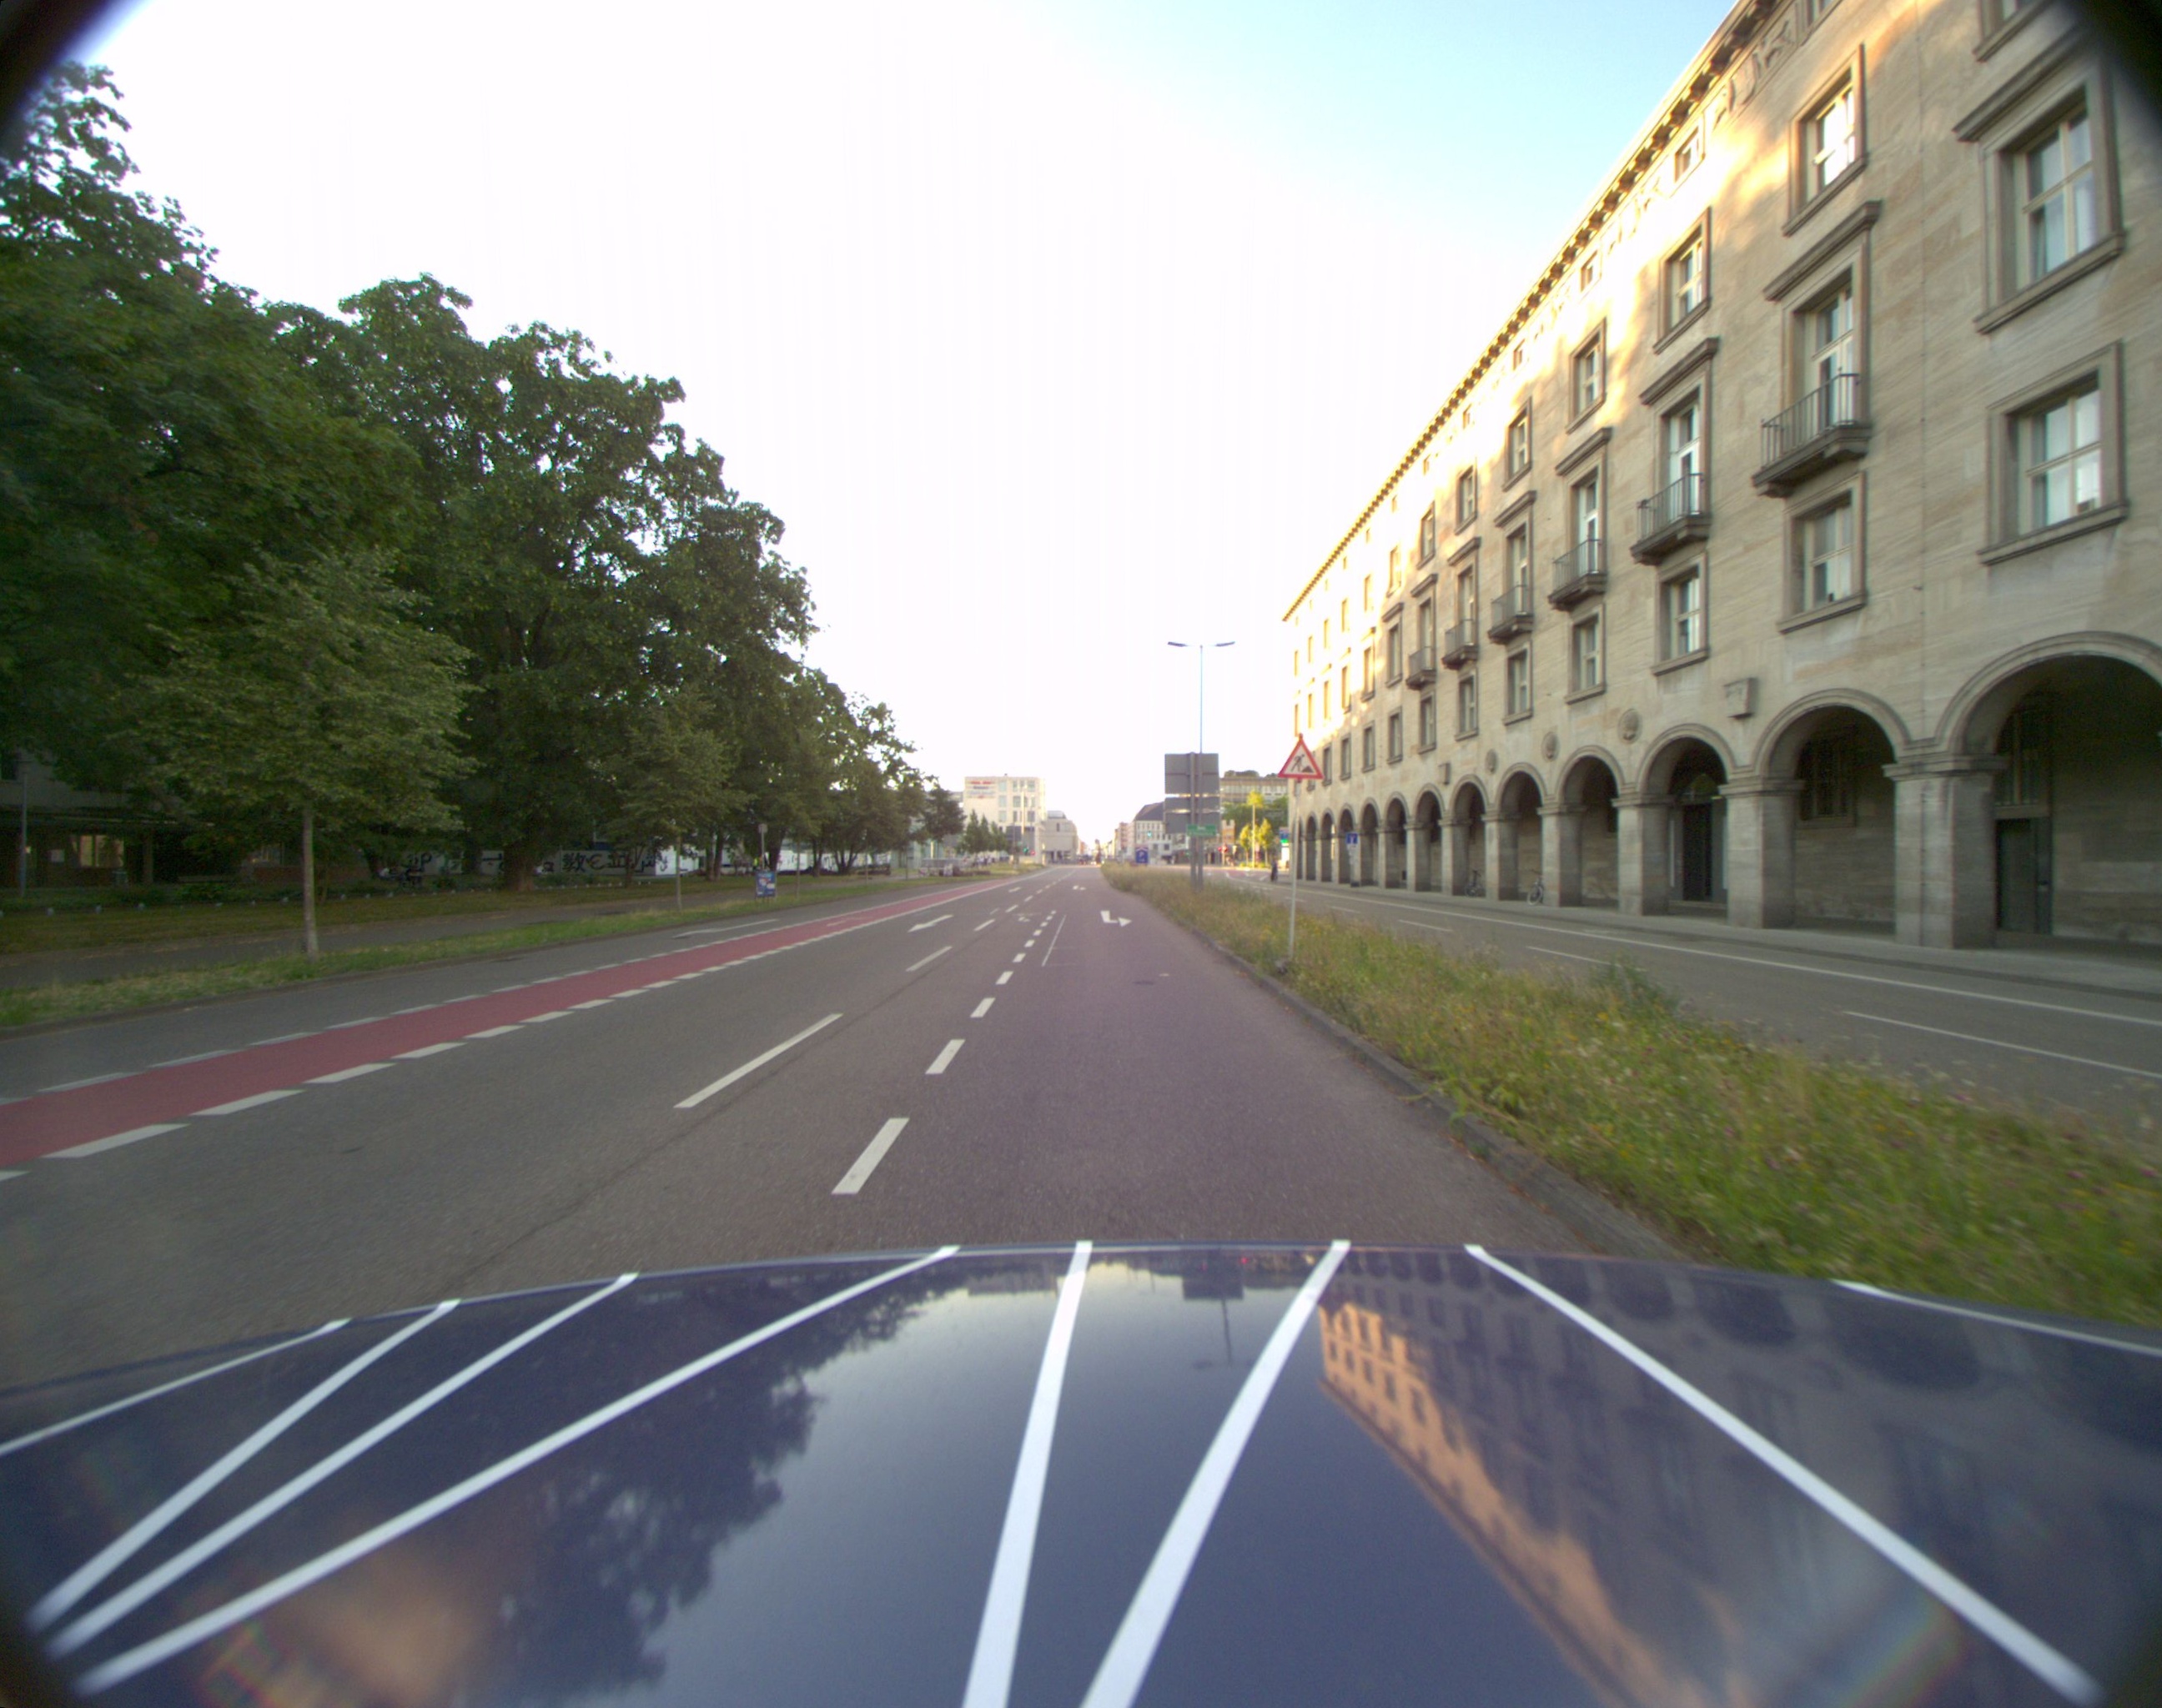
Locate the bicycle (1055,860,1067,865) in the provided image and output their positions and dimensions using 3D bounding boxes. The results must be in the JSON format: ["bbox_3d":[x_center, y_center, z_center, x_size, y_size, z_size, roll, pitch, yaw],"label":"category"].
[{"bbox_3d":[-4.981,2.000,187.211,2.804,1.208,0.765,0,-1,10],"label":"bicycle"}]

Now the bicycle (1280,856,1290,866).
[{"bbox_3d":[26.815,0.871,100.125,0.619,1.316,2.509,0,0,-1],"label":"bicycle"}]

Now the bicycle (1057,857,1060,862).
[{"bbox_3d":[-5.415,1.282,185.038,0.619,1.316,2.509,0,0,-1],"label":"bicycle"}]

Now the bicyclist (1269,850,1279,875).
[{"bbox_3d":[12.993,0.593,51.133,0.538,1.683,0.748,0,1,1],"label":"bicyclist"}]

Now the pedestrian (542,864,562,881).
[{"bbox_3d":[-34.890,1.220,50.100,0.788,1.157,0.766,0,0,-4],"label":"pedestrian"}]

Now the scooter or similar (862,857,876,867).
[{"bbox_3d":[-26.611,1.032,95.188,1.573,1.213,0.474,-2,1,-1],"label":"scooter or similar"}]

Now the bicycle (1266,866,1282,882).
[{"bbox_3d":[12.995,1.366,51.192,0.543,1.000,2.005,0,1,1],"label":"bicycle"}]

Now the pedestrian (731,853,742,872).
[{"bbox_3d":[-33.149,0.834,73.068,0.768,1.845,0.601,0,1,16],"label":"pedestrian"}]

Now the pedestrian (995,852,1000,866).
[{"bbox_3d":[-11.896,0.700,107.896,0.644,1.922,0.619,0,1,1],"label":"pedestrian"}]

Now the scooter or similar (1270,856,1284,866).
[{"bbox_3d":[26.624,0.916,103.054,1.792,1.297,0.417,0,1,-5],"label":"scooter or similar"}]

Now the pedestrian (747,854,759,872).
[{"bbox_3d":[-31.949,0.862,74.013,0.768,1.810,0.601,0,1,16],"label":"pedestrian"}]

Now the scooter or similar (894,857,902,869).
[{"bbox_3d":[-19.806,0.959,82.286,0.424,1.213,1.399,2,0,2],"label":"scooter or similar"}]

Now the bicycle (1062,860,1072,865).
[{"bbox_3d":[-3.530,2.159,196.973,2.507,1.316,0.619,0,1,0],"label":"bicycle"}]

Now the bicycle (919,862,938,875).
[{"bbox_3d":[-12.557,1.189,62.594,0.494,1.000,1.901,3,0,21],"label":"bicycle"}]

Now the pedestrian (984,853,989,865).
[{"bbox_3d":[-14.228,0.760,114.056,0.644,1.922,0.619,0,1,3],"label":"pedestrian"}]

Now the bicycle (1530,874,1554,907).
[{"bbox_3d":[15.400,1.189,25.361,0.477,0.999,2.009,0,0,37],"label":"bicycle"}]

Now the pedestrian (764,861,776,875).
[{"bbox_3d":[-20.528,0.935,50.157,0.682,0.879,0.592,0,0,-23],"label":"pedestrian"}]

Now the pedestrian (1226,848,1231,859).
[{"bbox_3d":[24.557,-0.078,126.758,0.661,1.921,0.648,0,0,2],"label":"pedestrian"}]

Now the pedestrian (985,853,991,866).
[{"bbox_3d":[-13.315,0.772,108.910,0.644,1.922,0.619,0,0,3],"label":"pedestrian"}]

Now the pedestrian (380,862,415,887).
[{"bbox_3d":[-34.960,1.036,38.863,1.134,1.253,0.726,0,0,3],"label":"pedestrian"}]

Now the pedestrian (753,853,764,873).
[{"bbox_3d":[-30.885,0.852,72.677,0.768,1.908,0.601,0,1,16],"label":"pedestrian"}]

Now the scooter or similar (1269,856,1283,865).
[{"bbox_3d":[26.561,0.909,103.560,1.863,1.297,0.500,0,1,-5],"label":"scooter or similar"}]

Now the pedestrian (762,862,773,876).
[{"bbox_3d":[-20.889,0.987,50.675,0.682,0.879,0.622,0,0,-22],"label":"pedestrian"}]

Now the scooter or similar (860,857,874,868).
[{"bbox_3d":[-26.556,1.045,94.371,1.573,1.213,0.474,-2,1,-1],"label":"scooter or similar"}]

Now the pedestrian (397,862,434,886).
[{"bbox_3d":[-34.842,1.046,39.812,1.134,1.253,0.905,0,0,4],"label":"pedestrian"}]

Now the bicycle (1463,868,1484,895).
[{"bbox_3d":[15.697,1.070,30.394,0.477,0.999,2.008,0,0,20],"label":"bicycle"}]

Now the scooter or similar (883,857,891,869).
[{"bbox_3d":[-20.979,0.971,82.226,0.474,1.213,1.573,2,0,-5],"label":"scooter or similar"}]
